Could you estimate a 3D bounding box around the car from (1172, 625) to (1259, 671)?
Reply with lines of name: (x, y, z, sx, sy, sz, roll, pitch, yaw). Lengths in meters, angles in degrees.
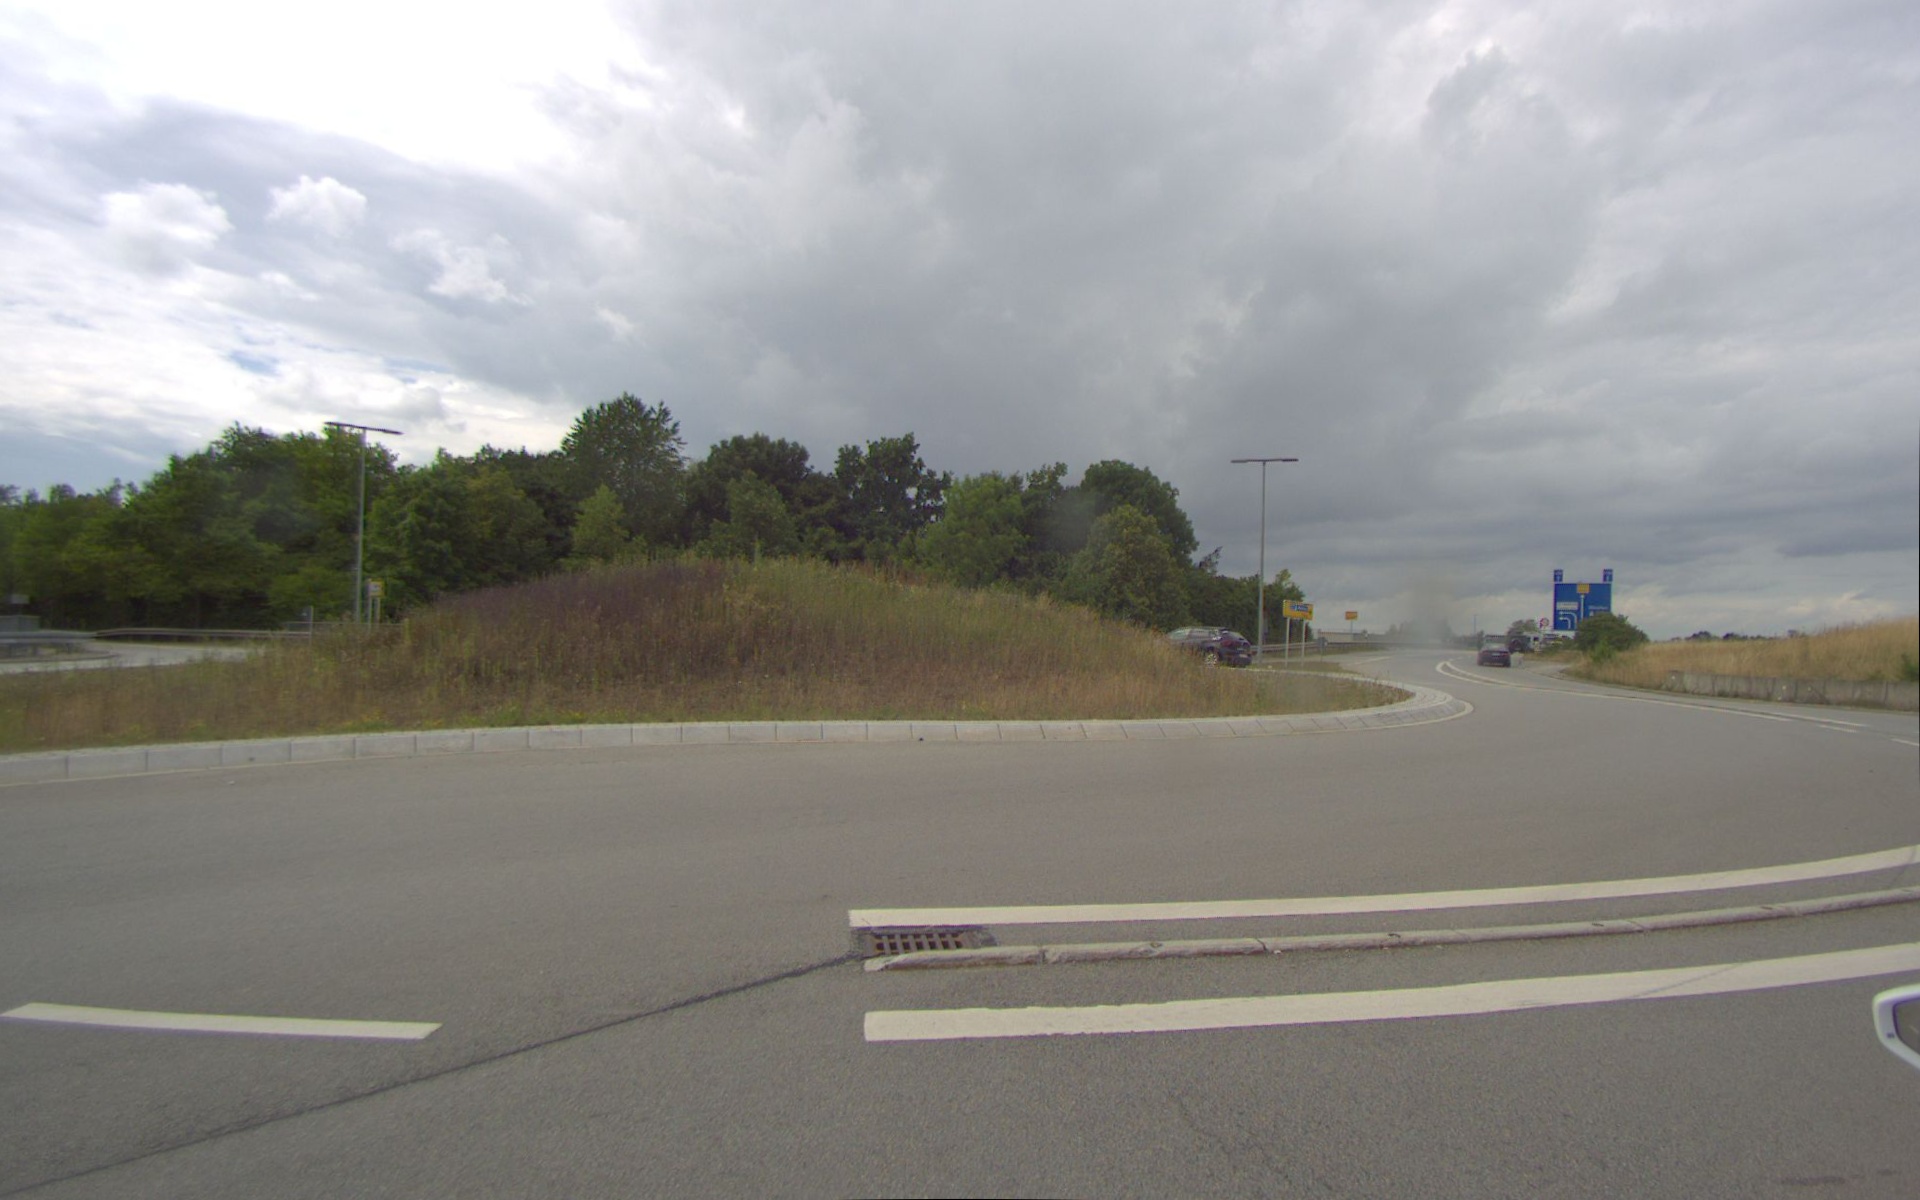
car: (8.635, 1.591, 34.286, 1.635, 1.396, 3.997, 0, -1, -5)

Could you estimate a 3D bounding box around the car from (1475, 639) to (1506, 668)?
car: (30.172, 3.021, 57.090, 1.495, 1.505, 3.610, 2, -2, 29)

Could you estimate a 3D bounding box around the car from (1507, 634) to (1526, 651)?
car: (56.643, 4.335, 102.242, 1.575, 1.569, 4.038, 0, -1, 30)
